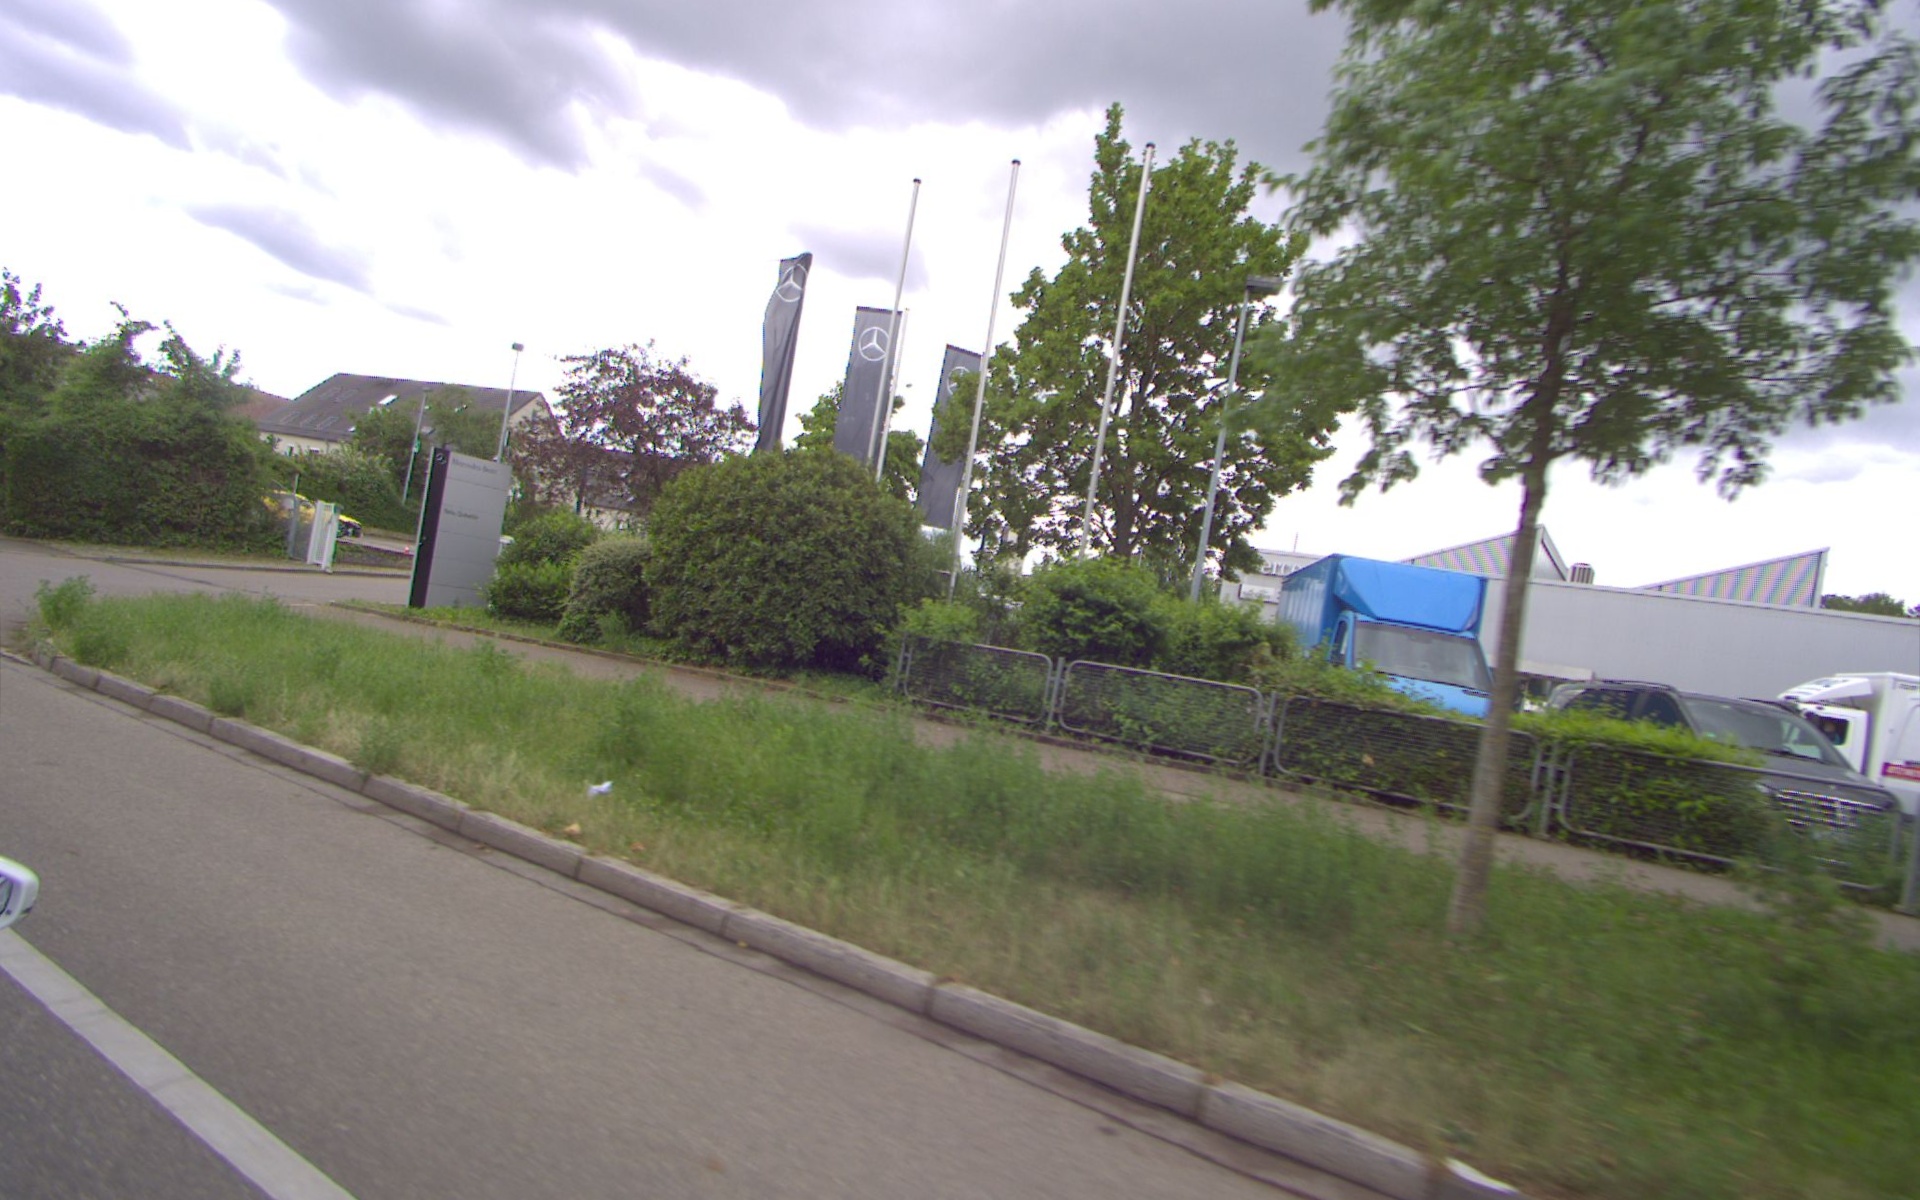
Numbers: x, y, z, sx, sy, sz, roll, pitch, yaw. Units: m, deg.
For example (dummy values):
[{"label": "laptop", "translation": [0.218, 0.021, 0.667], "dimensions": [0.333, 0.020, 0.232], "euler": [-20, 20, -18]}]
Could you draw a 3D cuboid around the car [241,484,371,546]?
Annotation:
[{"label": "car", "translation": [-26.240, -3.357, 40.538], "dimensions": [3.953, 1.669, 1.989], "euler": [10, -2, -25]}]

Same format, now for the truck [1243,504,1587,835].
[{"label": "truck", "translation": [6.288, 0.950, 15.321], "dimensions": [2.569, 3.518, 7.194], "euler": [8, -1, 9]}]

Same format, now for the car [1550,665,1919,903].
[{"label": "car", "translation": [9.122, 1.959, 11.940], "dimensions": [1.888, 2.098, 4.005], "euler": [8, -2, 5]}]

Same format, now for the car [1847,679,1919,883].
[{"label": "car", "translation": [12.155, 2.143, 9.747], "dimensions": [2.317, 2.393, 6.040], "euler": [8, -2, 10]}]

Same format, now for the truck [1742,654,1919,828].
[{"label": "truck", "translation": [23.829, 3.659, 22.428], "dimensions": [9.366, 3.498, 2.865], "euler": [7, -2, 22]}]

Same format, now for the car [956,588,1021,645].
[{"label": "car", "translation": [1.566, 0.898, 58.051], "dimensions": [2.227, 2.709, 5.435], "euler": [9, 1, -12]}]
